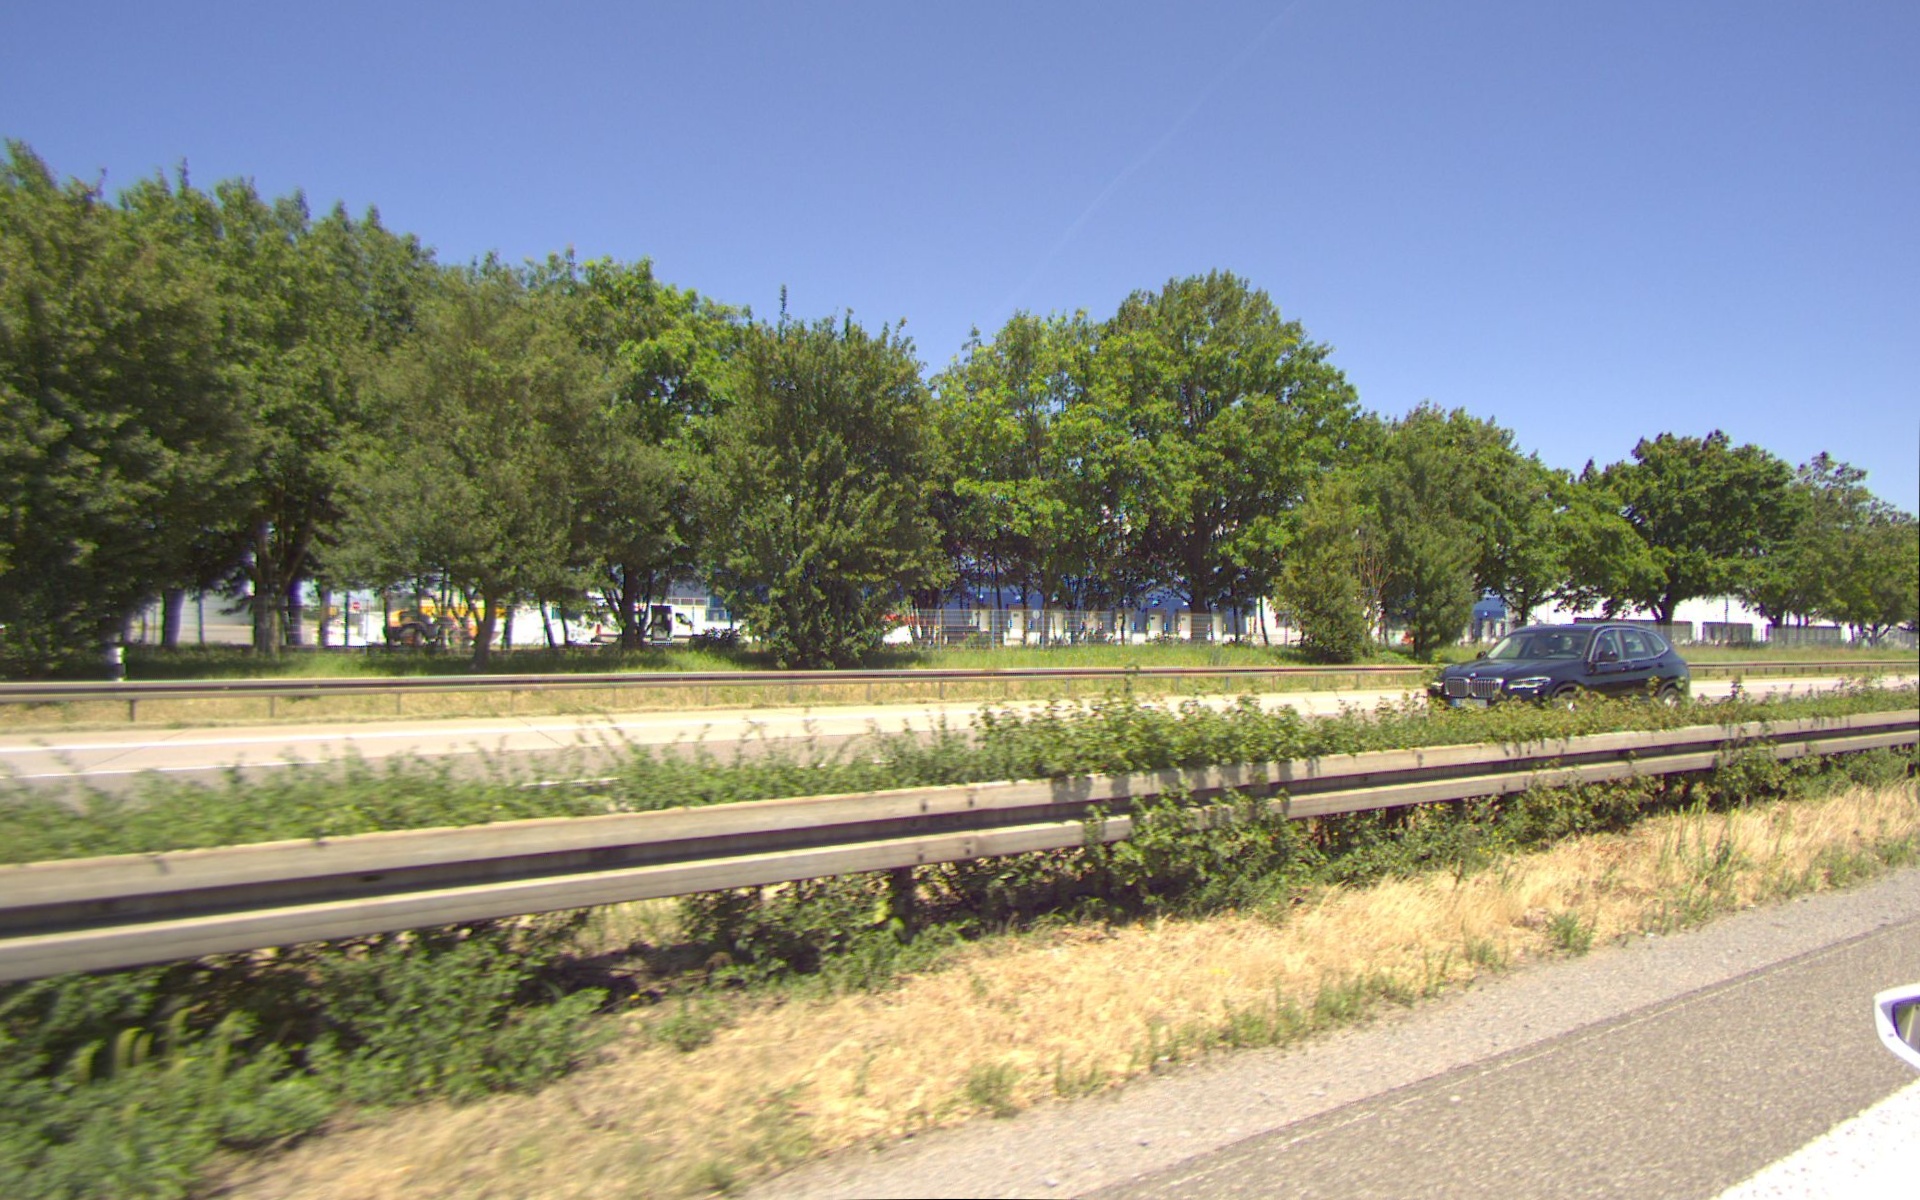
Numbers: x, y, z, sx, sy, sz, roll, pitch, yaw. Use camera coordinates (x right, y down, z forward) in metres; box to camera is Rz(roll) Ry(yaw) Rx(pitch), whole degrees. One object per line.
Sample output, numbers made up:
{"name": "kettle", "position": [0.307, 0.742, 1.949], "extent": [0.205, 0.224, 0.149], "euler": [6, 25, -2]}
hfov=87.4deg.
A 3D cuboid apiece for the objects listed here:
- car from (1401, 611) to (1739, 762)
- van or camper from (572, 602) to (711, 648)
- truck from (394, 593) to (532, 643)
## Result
{"name": "car", "position": [9.440, 1.210, 15.393], "extent": [5.582, 1.911, 1.984], "euler": [2, 1, -30]}
{"name": "van or camper", "position": [-19.014, 1.541, 60.194], "extent": [7.639, 2.585, 2.345], "euler": [2, -2, -32]}
{"name": "truck", "position": [-33.926, 1.325, 68.645], "extent": [8.198, 3.233, 3.534], "euler": [1, -3, -30]}
